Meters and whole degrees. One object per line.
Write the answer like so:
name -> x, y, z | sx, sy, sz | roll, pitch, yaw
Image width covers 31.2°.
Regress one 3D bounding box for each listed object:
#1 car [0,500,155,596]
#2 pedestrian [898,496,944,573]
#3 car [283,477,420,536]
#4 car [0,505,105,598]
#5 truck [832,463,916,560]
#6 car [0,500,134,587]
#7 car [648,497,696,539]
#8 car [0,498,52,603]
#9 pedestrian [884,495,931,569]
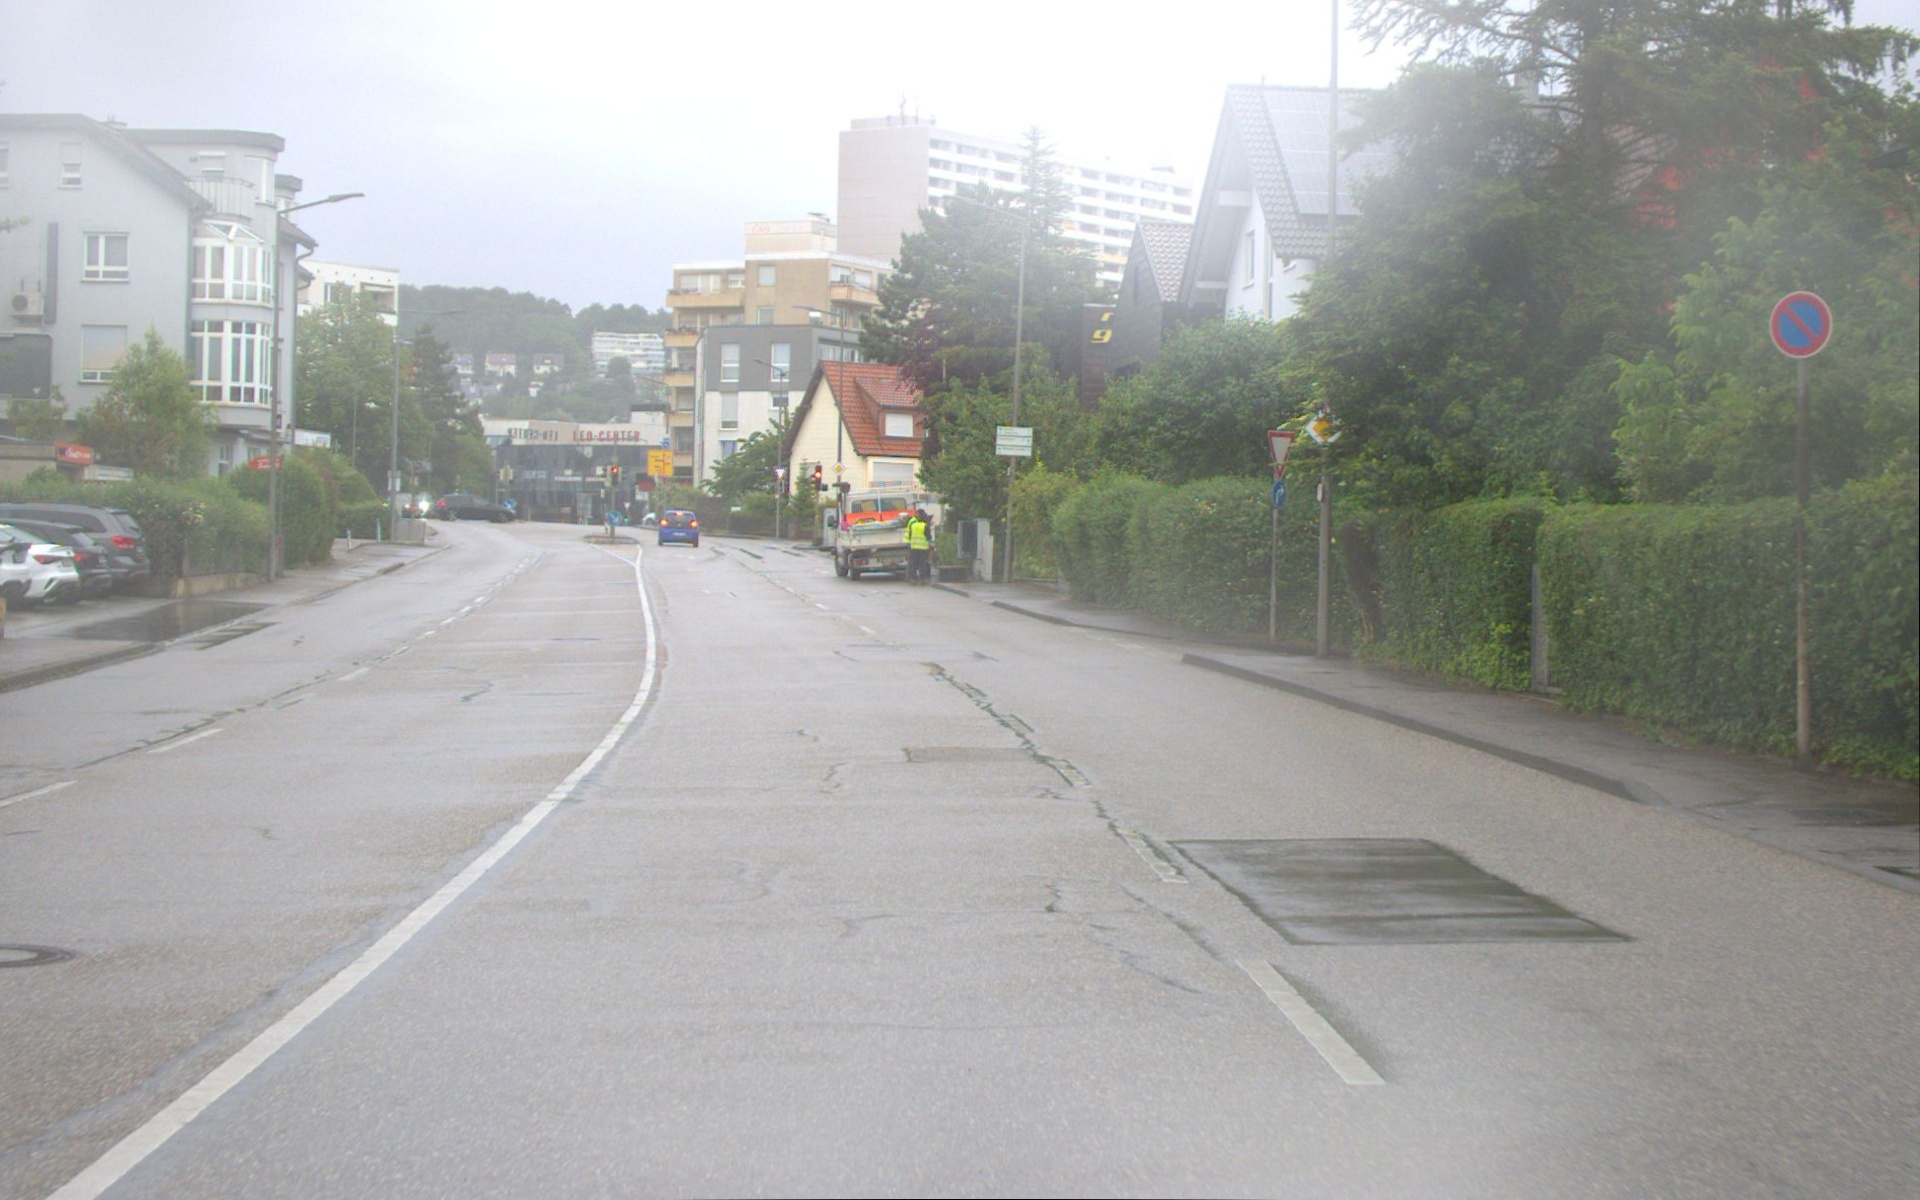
car -> -16.690, -0.940, 61.690 | 3.989, 1.680, 1.808 | 1, 1, 13
pedestrian -> -0.905, -1.527, 79.888 | 0.823, 1.791, 0.800 | 0, 1, -23
car -> -22.525, -3.463, 127.286 | 4.524, 2.007, 1.999 | 3, 1, 9
car -> -16.135, -0.842, 55.729 | 3.987, 1.429, 1.971 | 2, 1, 1
truck -> -2.105, -2.174, 84.579 | 1.993, 2.295, 4.001 | 1, 1, -1
car -> -16.256, -0.974, 58.425 | 3.987, 1.441, 1.706 | 0, 1, 3
car -> -11.676, -3.301, 139.574 | 1.794, 1.664, 4.001 | 0, 1, -3
car -> -16.341, -0.843, 52.997 | 4.098, 1.579, 1.957 | 2, 1, 0
pedestrian -> -1.229, -1.608, 80.693 | 0.823, 1.720, 0.841 | 0, 1, -22
